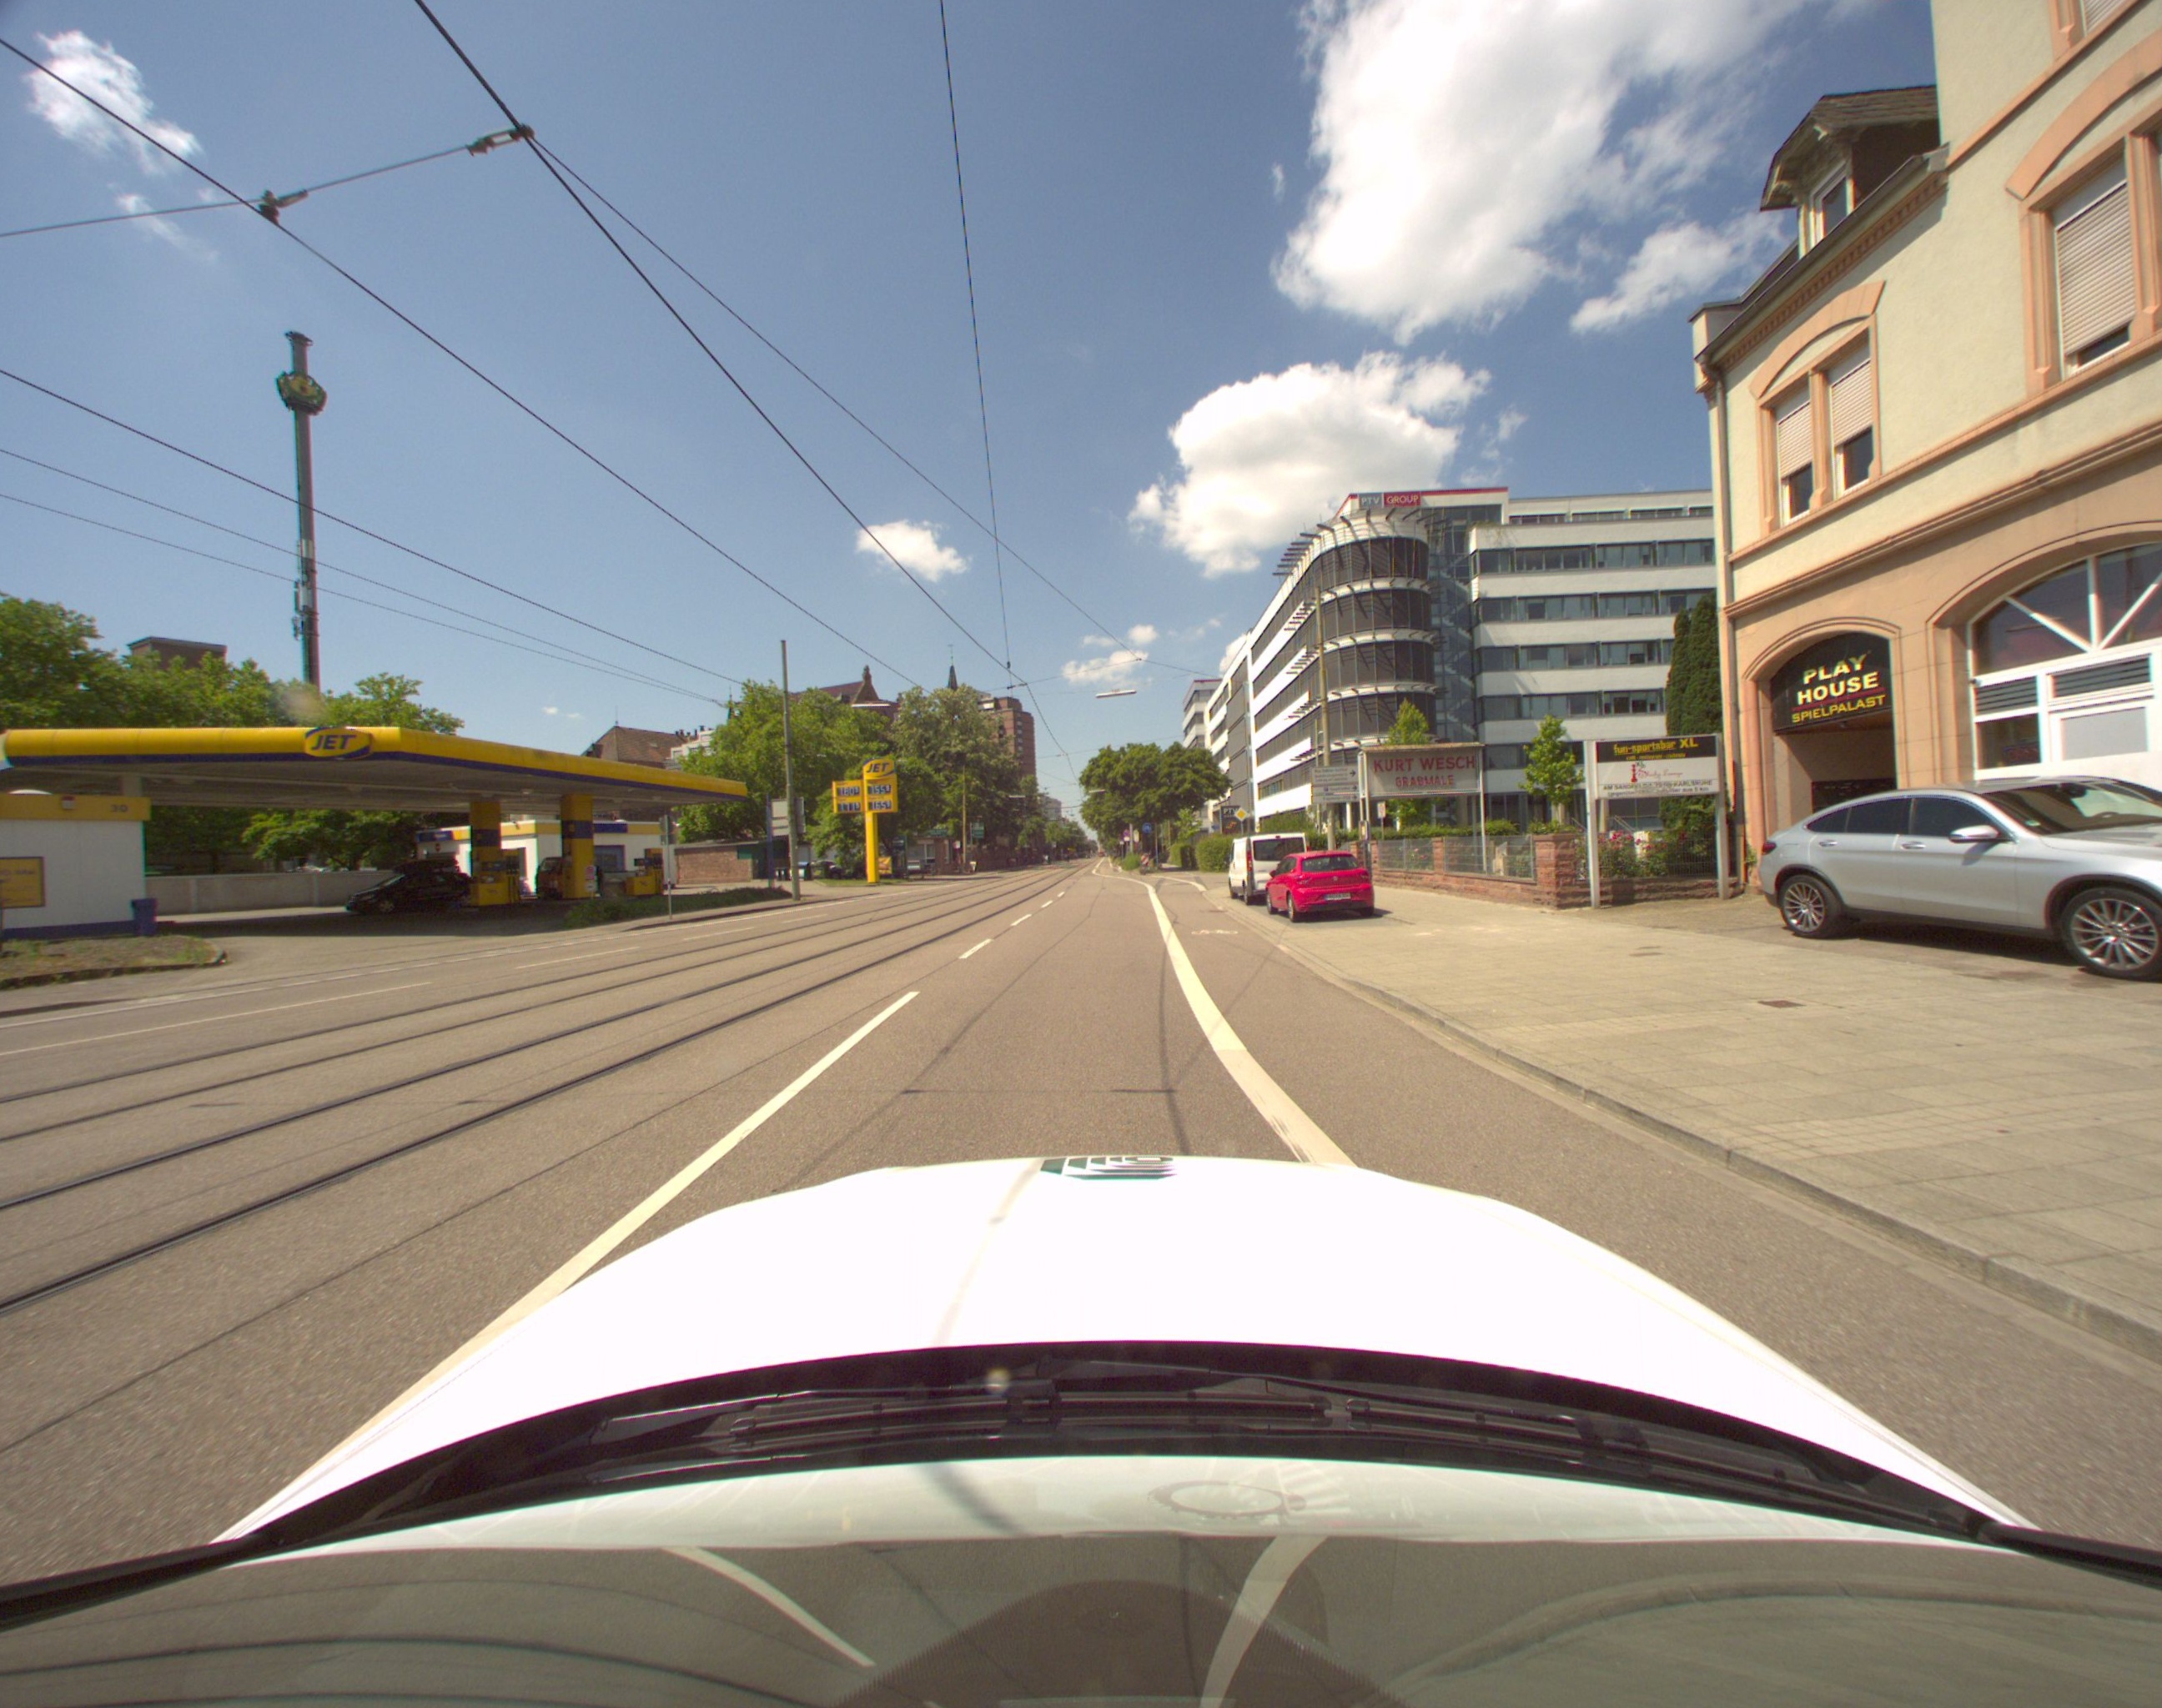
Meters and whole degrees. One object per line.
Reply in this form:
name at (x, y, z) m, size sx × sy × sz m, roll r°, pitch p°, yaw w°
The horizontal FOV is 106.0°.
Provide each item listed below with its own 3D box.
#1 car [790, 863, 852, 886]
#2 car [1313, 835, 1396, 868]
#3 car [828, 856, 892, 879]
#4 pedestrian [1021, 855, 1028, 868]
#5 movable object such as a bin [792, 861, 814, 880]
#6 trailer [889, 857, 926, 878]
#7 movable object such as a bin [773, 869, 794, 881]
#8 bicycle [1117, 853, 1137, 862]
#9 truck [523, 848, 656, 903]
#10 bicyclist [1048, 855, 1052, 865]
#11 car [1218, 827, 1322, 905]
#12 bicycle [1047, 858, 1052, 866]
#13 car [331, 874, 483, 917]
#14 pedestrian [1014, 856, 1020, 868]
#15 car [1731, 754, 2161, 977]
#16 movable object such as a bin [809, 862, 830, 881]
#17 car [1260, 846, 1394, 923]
car at (-21.167, 1.654, 66.359) m, size 4.357 × 1.592 × 1.887 m, roll -2°, pitch 0°, yaw -41°
car at (13.794, -0.121, 41.186) m, size 3.587 × 1.451 × 1.759 m, roll -2°, pitch 0°, yaw 1°
car at (-17.036, 1.041, 62.872) m, size 4.359 × 1.590 × 1.975 m, roll -2°, pitch 0°, yaw -44°
pedestrian at (-8.228, 1.118, 118.909) m, size 0.812 × 1.770 × 0.925 m, roll -2°, pitch -1°, yaw 1°
movable object such as a bin at (-21.252, 1.239, 62.331) m, size 1.335 × 1.354 × 0.761 m, roll -2°, pitch 0°, yaw 13°
trailer at (-15.242, 1.148, 71.776) m, size 2.819 × 1.704 × 1.622 m, roll -2°, pitch 0°, yaw 2°
movable object such as a bin at (-23.011, 1.600, 62.961) m, size 1.332 × 0.873 × 0.762 m, roll -2°, pitch 0°, yaw 22°
bicycle at (6.191, 0.468, 109.214) m, size 2.498 × 1.209 × 0.649 m, roll -3°, pitch 0°, yaw 6°
truck at (-24.236, 1.012, 40.392) m, size 1.974 × 2.498 × 5.236 m, roll -2°, pitch -1°, yaw 32°
bicyclist at (-5.355, 1.030, 139.148) m, size 0.640 × 1.679 × 0.814 m, roll -3°, pitch 0°, yaw -1°
car at (5.626, 0.323, 24.993) m, size 1.986 × 1.991 × 5.517 m, roll -4°, pitch 0°, yaw 2°
bicycle at (-5.364, 1.354, 139.098) m, size 0.698 × 1.204 × 2.241 m, roll -4°, pitch 0°, yaw 2°
car at (-27.603, 1.675, 33.513) m, size 1.974 × 1.479 × 4.369 m, roll -3°, pitch 0°, yaw 30°
pedestrian at (-9.493, 1.156, 120.908) m, size 0.740 × 1.728 × 0.868 m, roll -2°, pitch -1°, yaw 1°
car at (8.914, -0.002, 7.774) m, size 1.869 × 1.624 × 4.645 m, roll -5°, pitch 0°, yaw 5°
movable object such as a bin at (-19.722, 1.293, 61.432) m, size 1.340 × 1.354 × 0.758 m, roll -2°, pitch 0°, yaw -1°
car at (5.347, 0.602, 18.270) m, size 1.985 × 1.442 × 4.021 m, roll -3°, pitch 0°, yaw 4°
